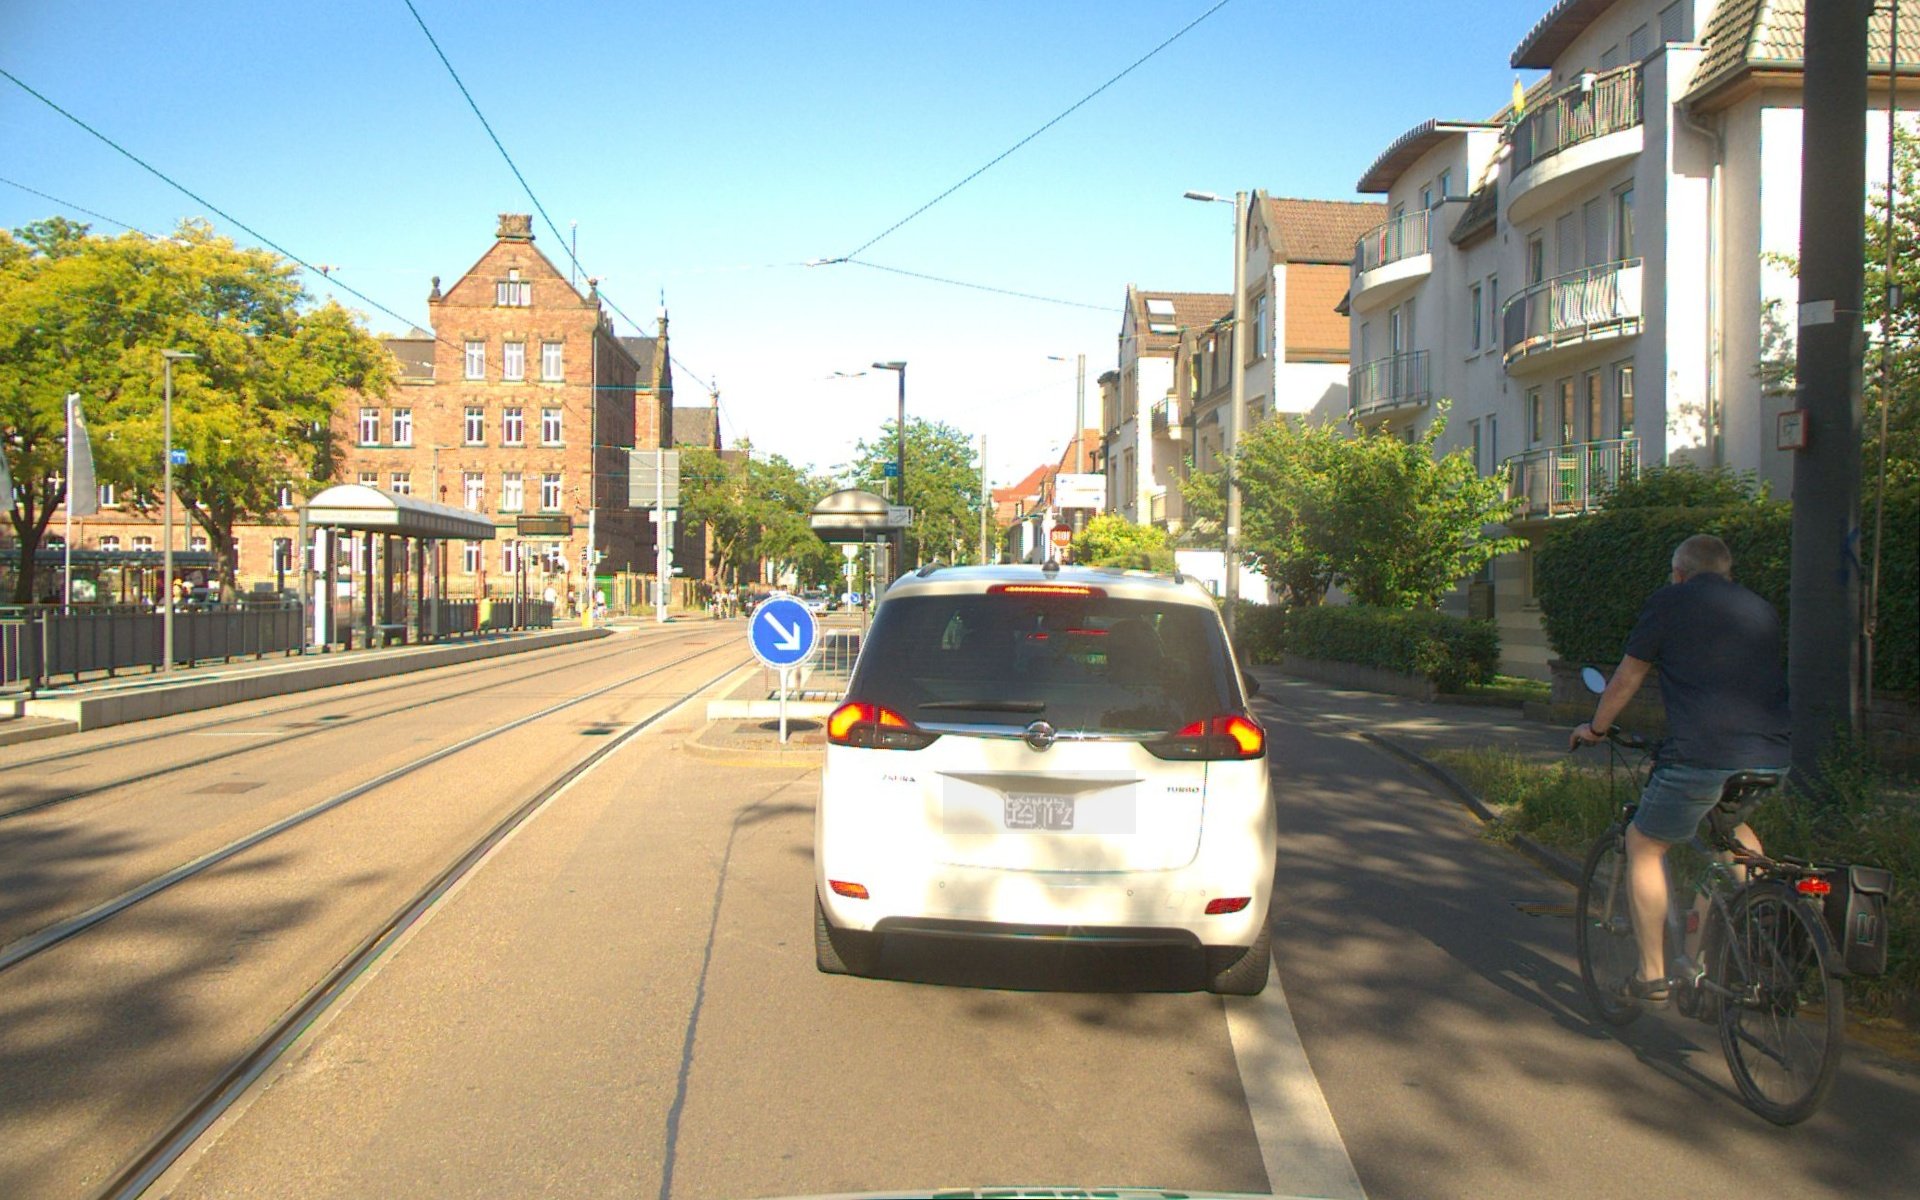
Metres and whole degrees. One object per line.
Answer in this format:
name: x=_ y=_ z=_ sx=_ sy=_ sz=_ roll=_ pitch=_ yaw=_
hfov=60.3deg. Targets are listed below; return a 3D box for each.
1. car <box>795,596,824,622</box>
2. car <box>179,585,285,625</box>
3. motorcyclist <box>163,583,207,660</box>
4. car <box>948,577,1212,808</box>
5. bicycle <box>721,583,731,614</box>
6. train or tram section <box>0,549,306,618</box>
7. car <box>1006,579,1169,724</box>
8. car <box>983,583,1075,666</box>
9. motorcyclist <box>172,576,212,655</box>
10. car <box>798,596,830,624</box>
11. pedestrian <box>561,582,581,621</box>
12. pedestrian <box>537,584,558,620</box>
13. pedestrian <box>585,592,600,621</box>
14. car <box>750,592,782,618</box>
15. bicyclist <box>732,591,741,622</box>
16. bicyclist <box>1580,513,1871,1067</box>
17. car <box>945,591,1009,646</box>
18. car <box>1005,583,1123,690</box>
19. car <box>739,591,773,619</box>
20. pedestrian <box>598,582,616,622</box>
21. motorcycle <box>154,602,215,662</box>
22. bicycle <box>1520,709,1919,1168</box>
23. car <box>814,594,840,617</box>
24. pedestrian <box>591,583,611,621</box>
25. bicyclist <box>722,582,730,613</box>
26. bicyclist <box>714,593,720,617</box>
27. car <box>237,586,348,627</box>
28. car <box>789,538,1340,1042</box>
car: x=-10.465 y=0.600 z=115.044 sx=1.711 sy=1.746 sz=3.999 roll=1 pitch=0 yaw=-1
car: x=-32.443 y=0.224 z=73.821 sx=3.908 sy=1.658 sz=1.817 roll=1 pitch=0 yaw=-4
motorcyclist: x=-14.988 y=0.415 z=31.982 sx=0.671 sy=1.466 sz=0.445 roll=0 pitch=0 yaw=-10
car: x=1.069 y=0.644 z=13.775 sx=1.866 sy=1.625 sz=4.003 roll=0 pitch=0 yaw=6
bicycle: x=-15.383 y=-0.091 z=108.733 sx=0.477 sy=2.049 sz=1.405 roll=0 pitch=0 yaw=-1
train or tram section: x=-40.745 y=-0.757 z=79.424 sx=17.048 sy=3.210 sz=3.343 roll=0 pitch=0 yaw=-6
car: x=1.681 y=0.584 z=21.008 sx=1.866 sy=1.653 sz=4.003 roll=0 pitch=0 yaw=6
car: x=1.448 y=0.501 z=36.120 sx=1.868 sy=1.690 sz=4.000 roll=0 pitch=0 yaw=0
motorcyclist: x=-15.070 y=0.301 z=32.443 sx=0.595 sy=1.542 sz=0.465 roll=0 pitch=0 yaw=-10
car: x=-9.448 y=0.622 z=107.203 sx=1.711 sy=1.746 sz=3.999 roll=1 pitch=0 yaw=-1
pedestrian: x=-20.706 y=0.087 z=88.025 sx=0.788 sy=2.049 sz=0.712 roll=1 pitch=-1 yaw=-34
pedestrian: x=-22.103 y=0.118 z=88.676 sx=0.791 sy=1.934 sz=0.744 roll=1 pitch=-1 yaw=13
pedestrian: x=-21.097 y=0.374 z=95.031 sx=0.640 sy=1.640 sz=0.711 roll=1 pitch=-1 yaw=1
car: x=-13.301 y=0.360 z=113.499 sx=1.711 sy=1.746 sz=3.999 roll=1 pitch=0 yaw=-1
bicyclist: x=-15.094 y=0.429 z=111.686 sx=0.478 sy=2.049 sz=0.502 roll=1 pitch=-1 yaw=-1
bicyclist: x=2.524 y=0.590 z=5.526 sx=0.603 sy=1.716 sz=0.779 roll=0 pitch=0 yaw=-1
car: x=0.505 y=0.554 z=53.083 sx=1.869 sy=1.690 sz=3.998 roll=0 pitch=0 yaw=-2
car: x=1.790 y=0.574 z=28.287 sx=1.867 sy=1.690 sz=4.002 roll=0 pitch=0 yaw=4
car: x=-13.155 y=0.300 z=106.835 sx=1.711 sy=1.746 sz=3.999 roll=1 pitch=0 yaw=-1
pedestrian: x=-18.082 y=0.091 z=84.687 sx=0.782 sy=2.049 sz=0.717 roll=1 pitch=-1 yaw=-18
motorcycle: x=-15.006 y=0.604 z=32.049 sx=0.598 sy=1.112 sz=1.852 roll=0 pitch=0 yaw=-10
bicycle: x=2.520 y=0.991 z=5.510 sx=0.611 sy=1.116 sz=1.973 roll=0 pitch=0 yaw=-1
car: x=-10.350 y=0.446 z=128.900 sx=1.711 sy=1.746 sz=3.999 roll=1 pitch=0 yaw=-1
pedestrian: x=-19.252 y=0.116 z=88.669 sx=0.789 sy=2.049 sz=0.711 roll=1 pitch=-1 yaw=-38
bicyclist: x=-15.387 y=-0.151 z=108.746 sx=0.488 sy=2.049 sz=0.572 roll=0 pitch=0 yaw=-1
bicyclist: x=-15.100 y=0.293 z=102.803 sx=0.307 sy=1.469 sz=0.384 roll=0 pitch=0 yaw=-1
car: x=-28.112 y=0.270 z=69.748 sx=3.908 sy=1.658 sz=1.817 roll=1 pitch=0 yaw=-4
car: x=0.506 y=0.629 z=7.632 sx=1.867 sy=1.690 sz=4.002 roll=0 pitch=0 yaw=5
